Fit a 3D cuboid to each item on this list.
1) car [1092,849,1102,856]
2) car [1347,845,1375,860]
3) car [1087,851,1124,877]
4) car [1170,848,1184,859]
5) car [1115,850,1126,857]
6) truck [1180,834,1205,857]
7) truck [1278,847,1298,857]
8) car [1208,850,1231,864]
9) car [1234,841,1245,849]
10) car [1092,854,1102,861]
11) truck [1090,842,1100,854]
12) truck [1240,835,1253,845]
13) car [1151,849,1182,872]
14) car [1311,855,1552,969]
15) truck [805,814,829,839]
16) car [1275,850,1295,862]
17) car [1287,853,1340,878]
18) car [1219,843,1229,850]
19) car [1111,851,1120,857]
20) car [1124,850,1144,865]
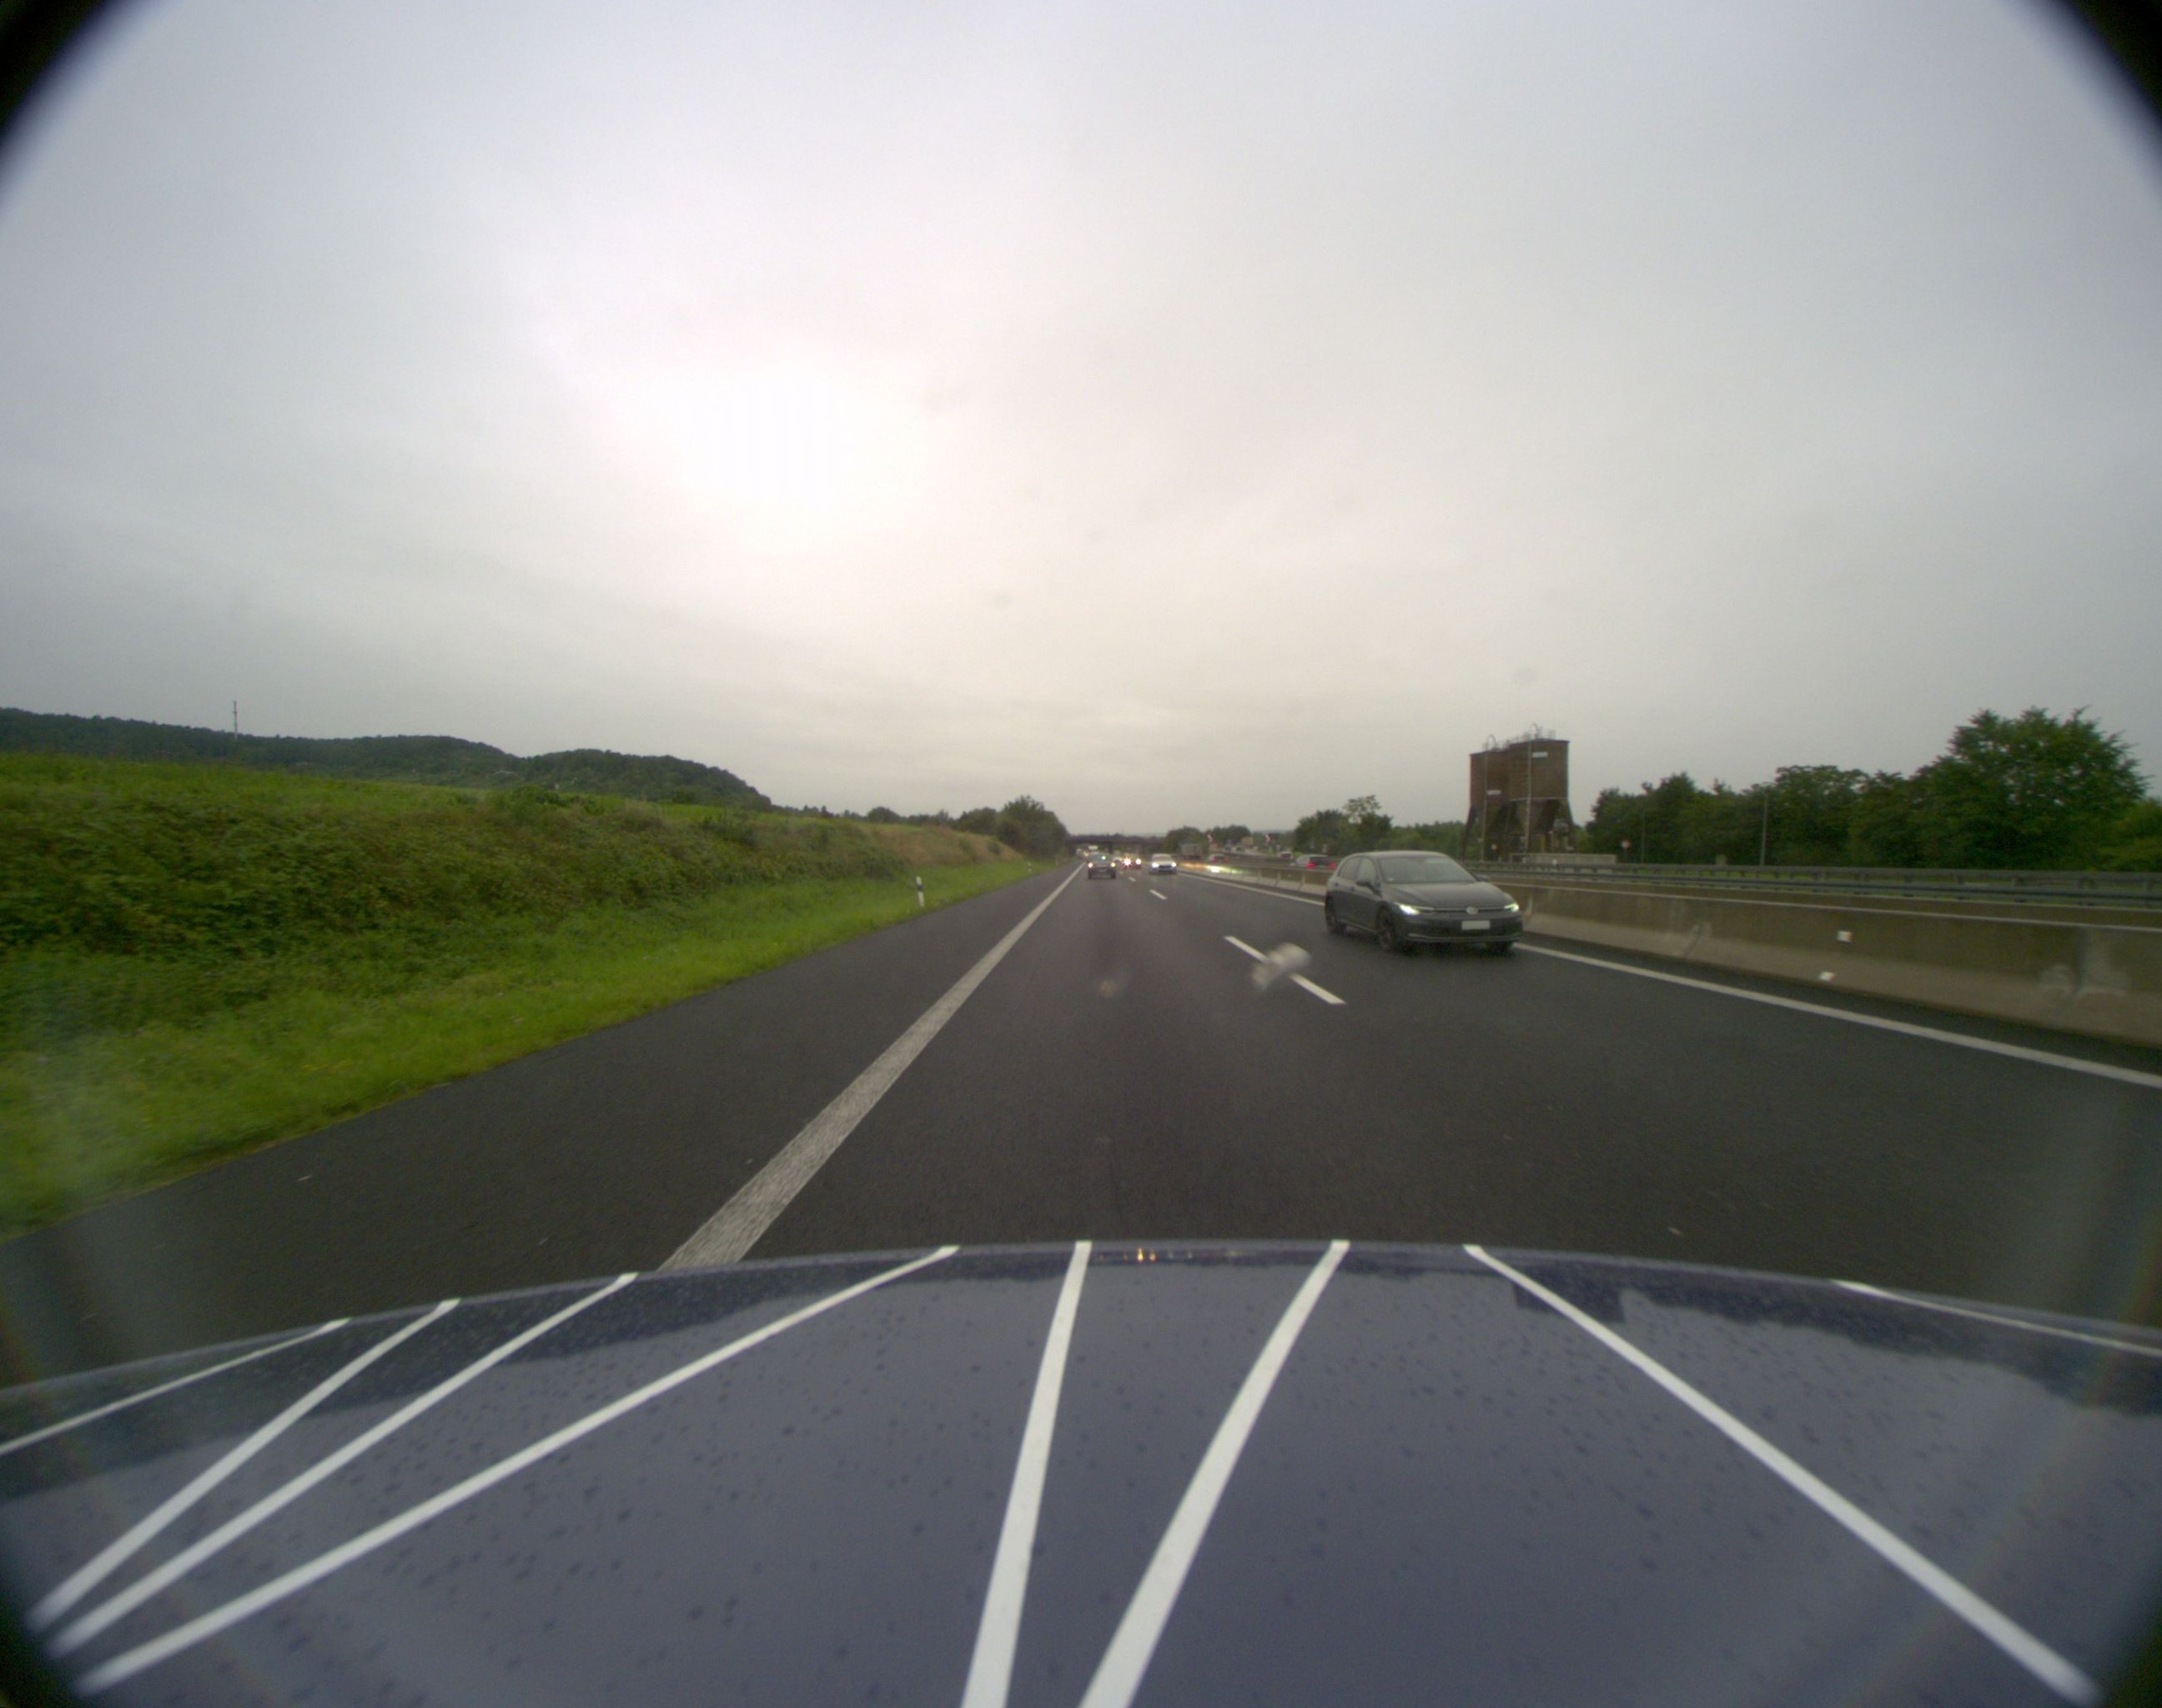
[{"bbox_3d":[3.454,-0.371,161.939,1.941,1.341,4.000,-3,0,1],"label":"car"},{"bbox_3d":[34.713,-0.229,94.323,1.998,1.751,4.505,-1,0,1],"label":"car"},{"bbox_3d":[1.589,0.608,49.206,2.242,1.565,4.817,-2,0,2],"label":"car"},{"bbox_3d":[15.114,-0.106,120.280,1.717,1.587,4.000,-1,0,1],"label":"car"},{"bbox_3d":[7.701,-0.100,148.296,1.941,1.341,4.001,-3,0,2],"label":"car"},{"bbox_3d":[19.398,-1.470,132.849,2.976,3.689,11.910,-2,0,2],"label":"truck"},{"bbox_3d":[36.764,-0.363,135.342,1.999,1.636,5.405,-3,0,-1],"label":"truck"},{"bbox_3d":[14.531,0.301,79.904,1.802,1.499,4.000,0,0,1],"label":"car"},{"bbox_3d":[44.532,-2.585,213.755,1.999,2.002,3.998,-2,1,-3],"label":"car"},{"bbox_3d":[3.288,0.793,154.912,1.941,1.341,4.000,-3,0,1],"label":"car"},{"bbox_3d":[3.852,-1.621,209.959,2.728,3.098,7.960,-3,0,1],"label":"truck"},{"bbox_3d":[55.021,-4.504,252.689,3.252,3.197,7.606,-2,0,6],"label":"truck"},{"bbox_3d":[6.321,0.454,56.840,1.998,1.582,4.817,-2,0,3],"label":"car"},{"bbox_3d":[5.264,0.763,12.143,1.835,1.417,4.367,-2,0,0],"label":"car"},{"bbox_3d":[-44.743,-4.658,128.993,2.516,3.964,5.924,-2,1,-7],"label":"truck"},{"bbox_3d":[31.873,0.288,119.035,1.907,1.798,4.461,-1,0,0],"label":"car"},{"bbox_3d":[13.708,0.619,45.121,1.860,1.383,4.444,-1,0,1],"label":"car"},{"bbox_3d":[40.100,-2.148,213.140,2.075,2.002,4.550,0,0,-1],"label":"car"},{"bbox_3d":[7.966,0.094,176.788,1.941,1.341,4.000,-3,0,1],"label":"car"},{"bbox_3d":[5.459,0.324,78.382,1.835,1.417,4.368,-2,0,2],"label":"car"}]
